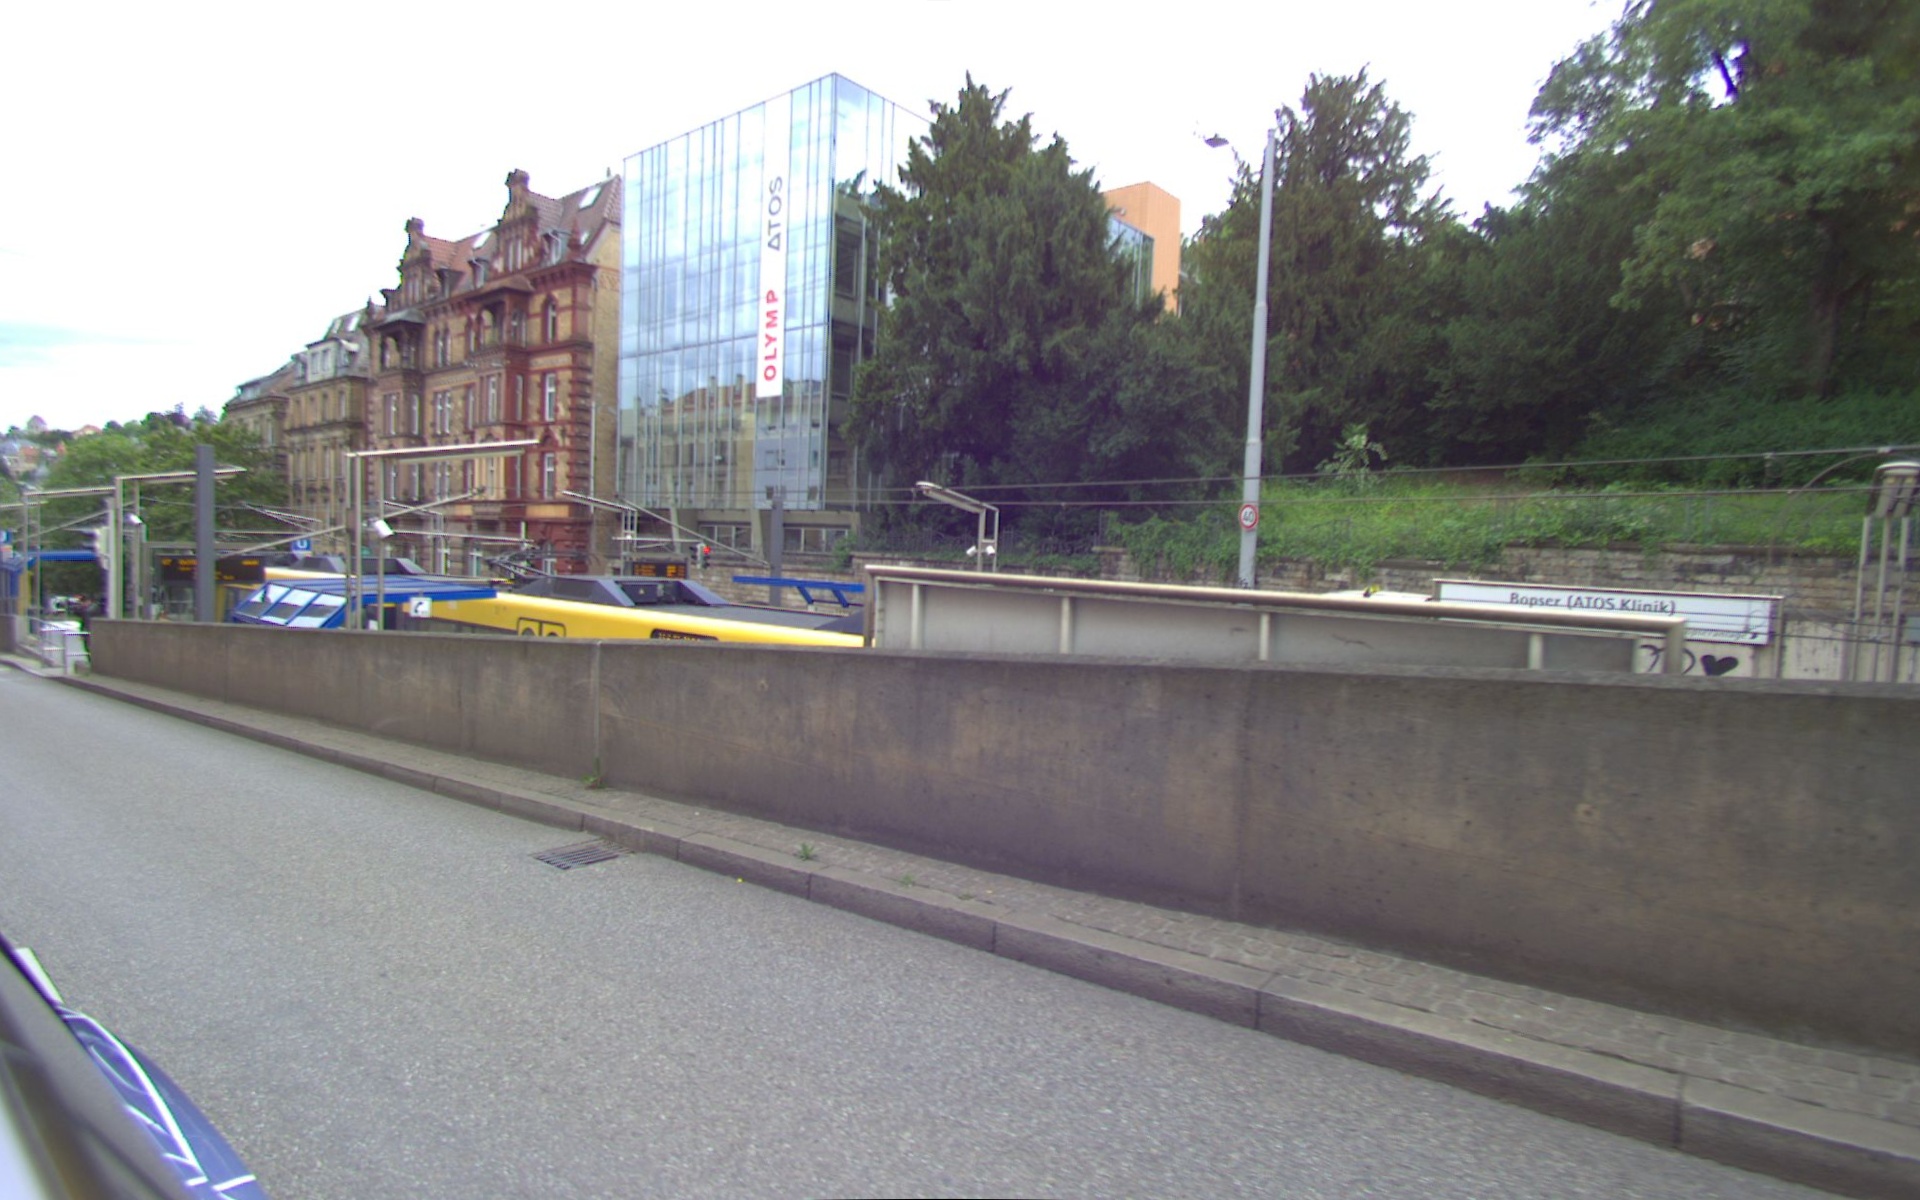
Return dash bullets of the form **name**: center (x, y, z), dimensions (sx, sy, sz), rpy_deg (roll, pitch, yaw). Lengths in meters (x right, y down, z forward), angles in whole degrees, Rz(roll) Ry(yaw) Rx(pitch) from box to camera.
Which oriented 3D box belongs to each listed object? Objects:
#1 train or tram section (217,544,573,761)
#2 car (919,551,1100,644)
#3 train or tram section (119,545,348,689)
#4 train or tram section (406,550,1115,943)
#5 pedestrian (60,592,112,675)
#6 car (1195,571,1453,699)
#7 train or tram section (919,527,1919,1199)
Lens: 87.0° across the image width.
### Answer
- **train or tram section**: center (-12.937, 0.662, 22.220), dimensions (12.216, 3.497, 2.918), rpy_deg (4, 3, 41)
- **car**: center (1.135, -0.030, 24.285), dimensions (3.998, 2.029, 1.973), rpy_deg (-1, -1, 41)
- **train or tram section**: center (-22.147, 0.199, 30.392), dimensions (12.394, 3.569, 2.918), rpy_deg (3, 2, 41)
- **train or tram section**: center (-3.832, 1.129, 14.174), dimensions (12.215, 3.509, 2.918), rpy_deg (2, 2, 41)
- **pedestrian**: center (-19.449, 0.736, 22.522), dimensions (0.806, 1.790, 0.803), rpy_deg (-1, 0, -44)
- **car**: center (6.566, 0.529, 18.409), dimensions (3.996, 2.028, 1.974), rpy_deg (0, 3, 39)
- **train or tram section**: center (5.446, 1.416, 5.997), dimensions (12.982, 3.535, 2.918), rpy_deg (1, 1, 42)
